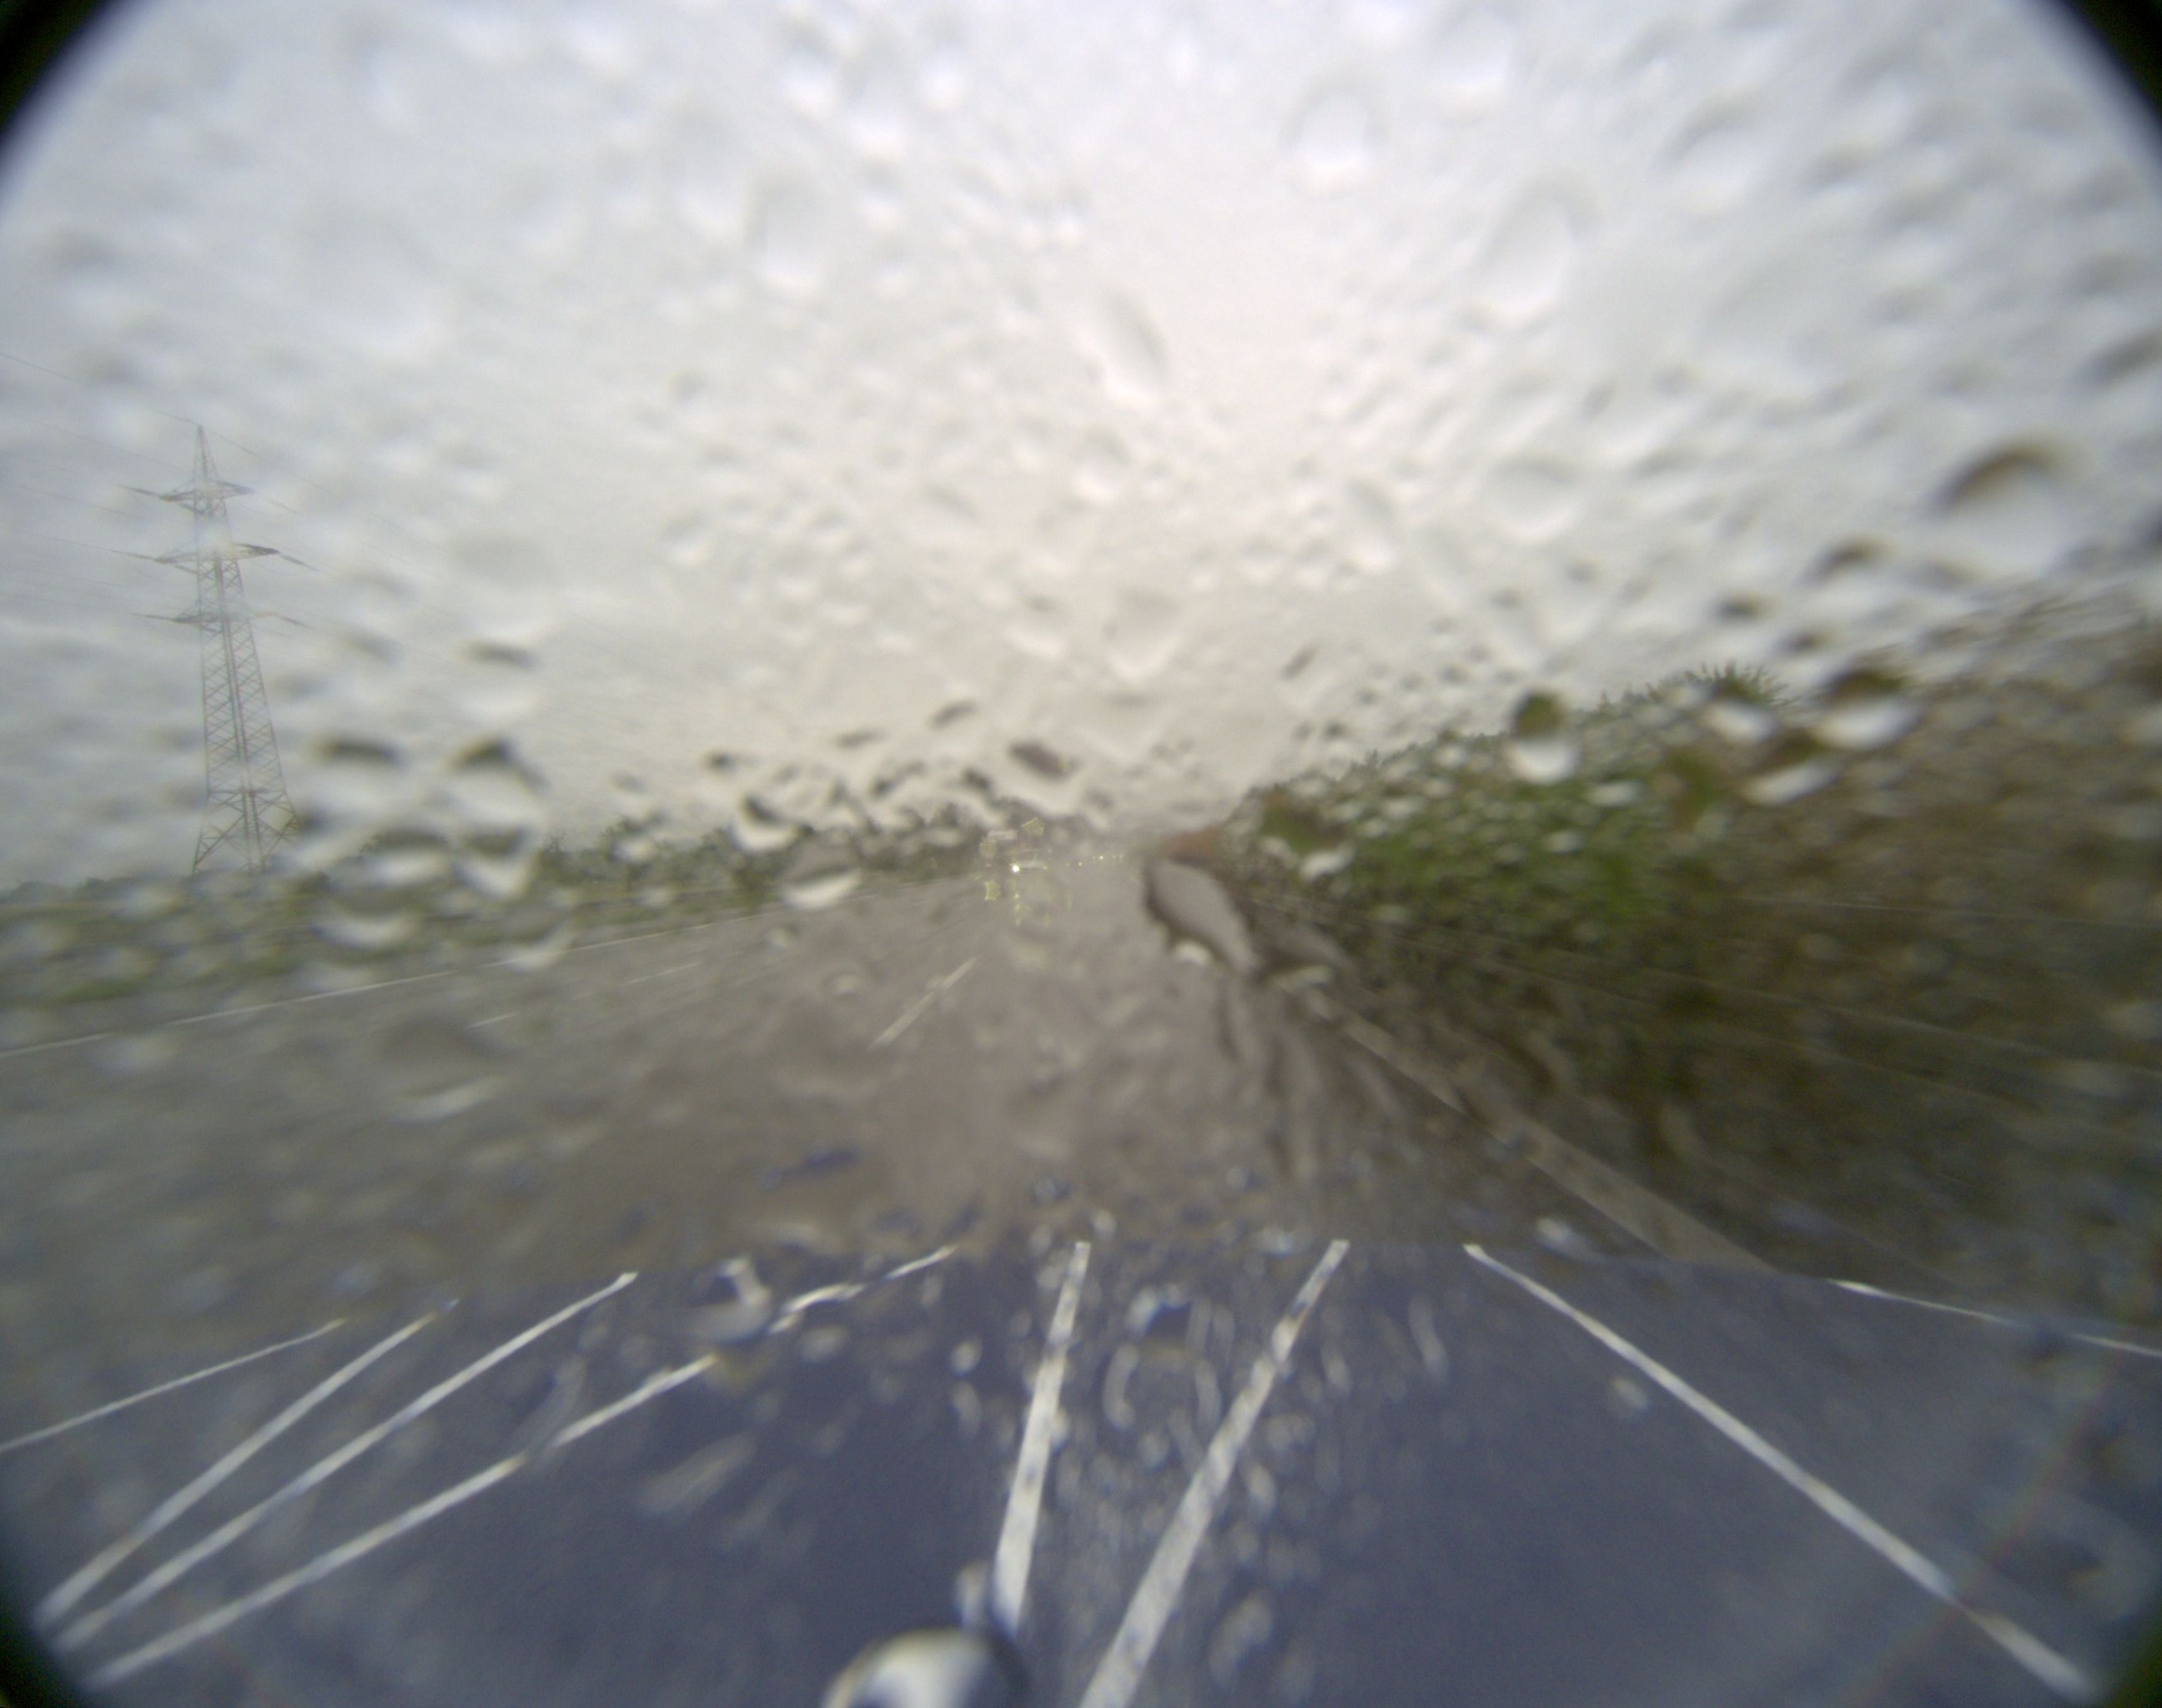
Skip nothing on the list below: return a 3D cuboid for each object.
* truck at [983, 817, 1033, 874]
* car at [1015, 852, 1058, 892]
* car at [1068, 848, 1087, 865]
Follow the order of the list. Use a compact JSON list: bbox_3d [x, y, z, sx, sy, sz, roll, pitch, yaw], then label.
[{"bbox_3d":[-6.513,-0.780,69.689,3.136,4.642,11.402,-2,1,1],"label":"truck"},{"bbox_3d":[-2.407,0.933,42.195,1.998,2.002,4.000,-3,0,1],"label":"car"},{"bbox_3d":[-0.363,0.283,91.015,1.998,2.002,4.000,-2,1,2],"label":"car"}]
